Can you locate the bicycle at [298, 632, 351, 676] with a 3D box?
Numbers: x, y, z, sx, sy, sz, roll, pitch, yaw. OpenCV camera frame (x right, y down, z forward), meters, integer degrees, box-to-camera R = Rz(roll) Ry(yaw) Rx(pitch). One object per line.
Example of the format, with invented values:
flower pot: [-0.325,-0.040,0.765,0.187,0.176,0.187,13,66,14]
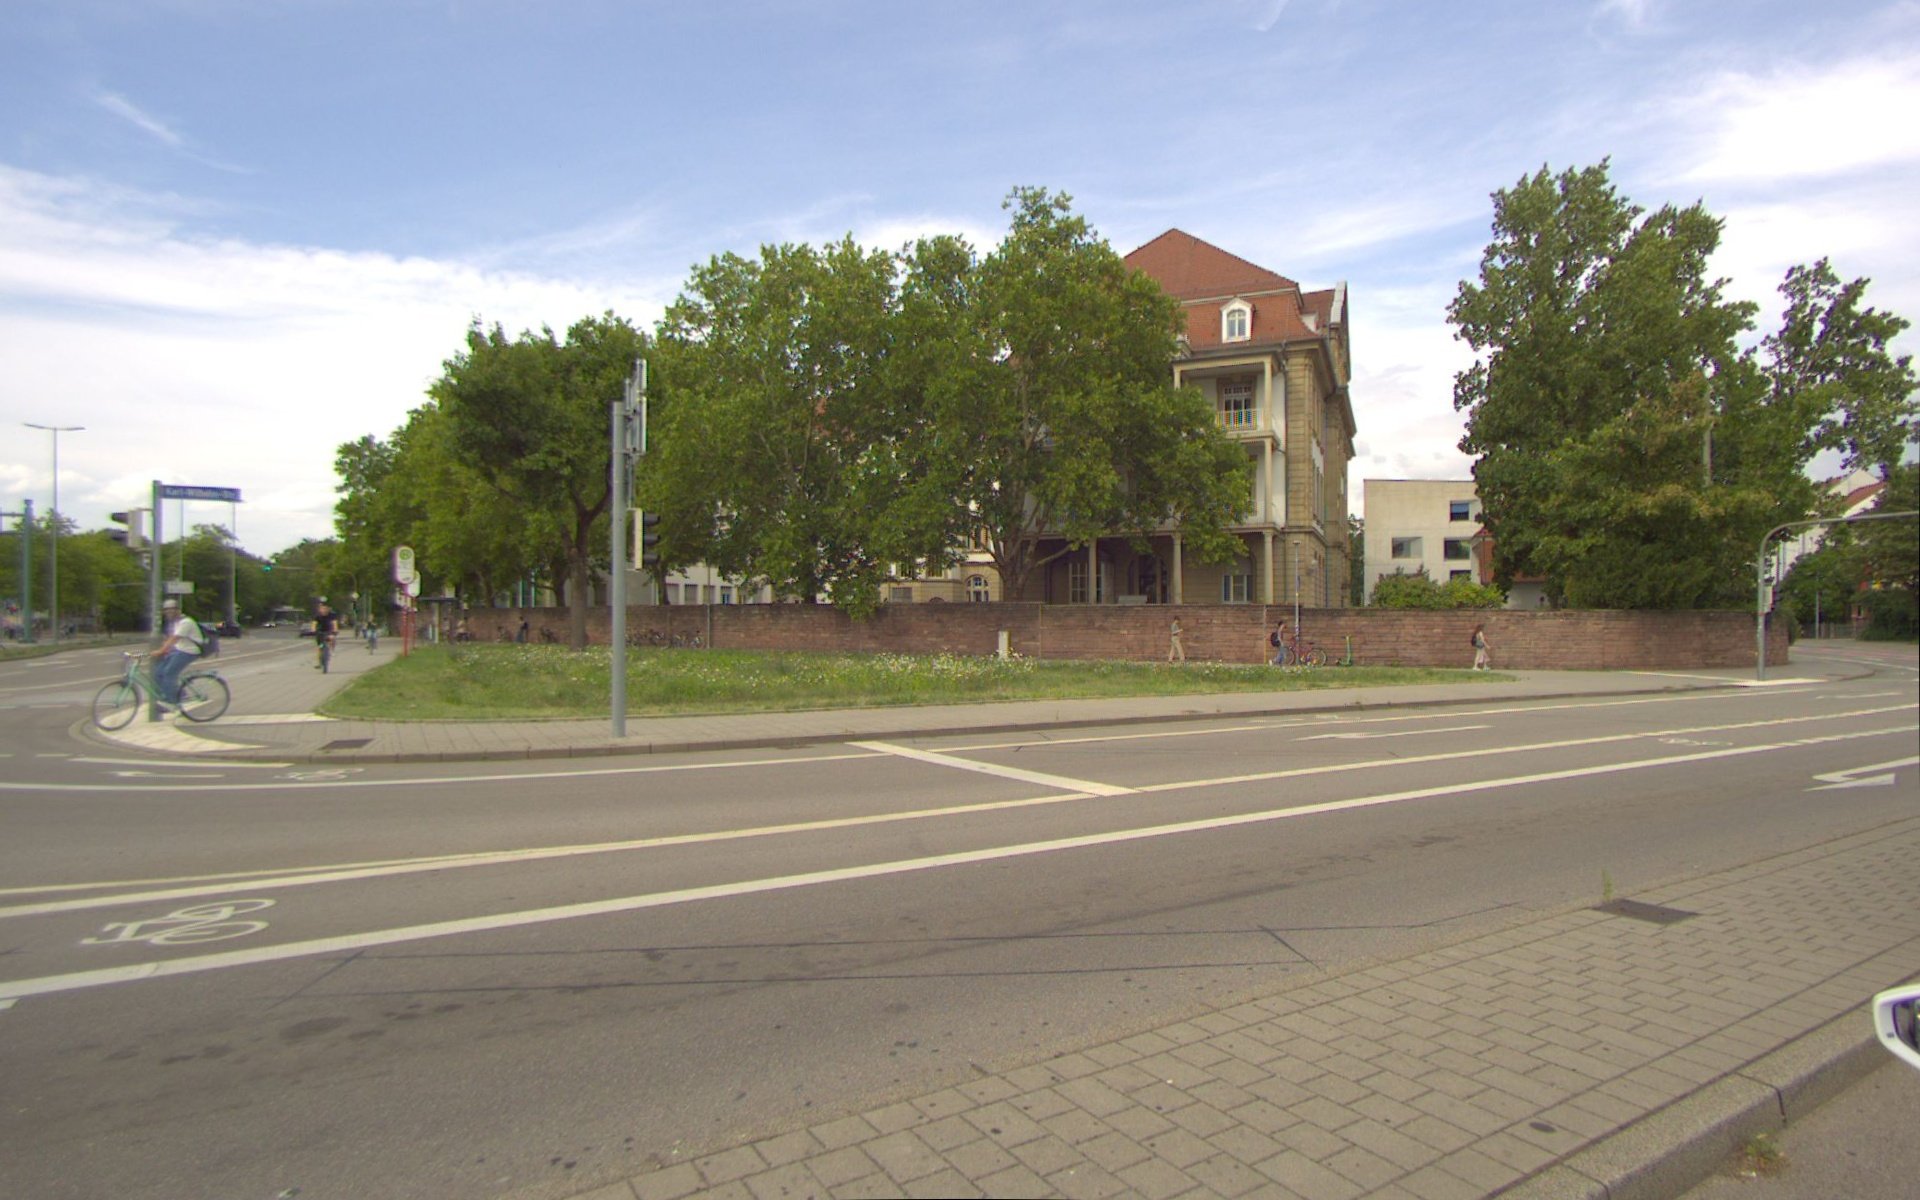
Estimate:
bicycle: [-15.593,1.305,24.693,0.497,0.948,1.965,0,1,-14]

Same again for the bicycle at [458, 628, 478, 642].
bicycle: [-33.891,2.438,69.141,1.554,0.899,0.658,-2,1,42]

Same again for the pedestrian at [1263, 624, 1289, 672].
pedestrian: [11.509,1.737,36.598,0.766,1.677,0.577,-2,1,2]

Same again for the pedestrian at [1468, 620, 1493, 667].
pedestrian: [19.030,1.603,36.749,0.617,1.677,0.531,-2,1,0]

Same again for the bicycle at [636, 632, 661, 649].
bicycle: [-16.675,2.157,53.786,1.783,0.875,0.357,-1,-4,42]

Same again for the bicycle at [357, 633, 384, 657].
bicycle: [-25.415,1.930,43.333,0.497,0.948,1.965,0,1,-14]

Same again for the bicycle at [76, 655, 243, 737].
bicycle: [-11.498,1.345,14.515,0.496,0.948,1.972,1,1,15]

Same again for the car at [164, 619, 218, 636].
car: [-72.543,2.587,94.815,4.046,1.509,1.791,1,-1,12]

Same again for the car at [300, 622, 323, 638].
car: [-66.542,3.064,103.103,1.680,1.500,4.382,-2,0,-29]

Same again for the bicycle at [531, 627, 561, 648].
bicycle: [-24.910,2.267,60.453,2.067,1.204,0.755,-1,-3,40]

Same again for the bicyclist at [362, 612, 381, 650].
bicyclist: [-25.426,1.326,43.371,0.486,1.576,0.795,0,1,-14]

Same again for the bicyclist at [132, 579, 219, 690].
bicyclist: [-11.446,0.480,14.674,0.568,1.576,0.798,1,1,15]

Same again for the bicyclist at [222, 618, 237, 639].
bicyclist: [-62.003,2.432,85.246,0.768,1.733,1.079,2,-3,-26]

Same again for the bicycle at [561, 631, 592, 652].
bicycle: [-22.126,2.401,57.899,2.067,1.204,0.755,-1,-3,40]

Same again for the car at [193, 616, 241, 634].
car: [-66.006,2.217,89.240,4.054,1.509,1.788,1,-2,27]

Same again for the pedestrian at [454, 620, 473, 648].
pedestrian: [-29.891,2.050,60.451,0.655,1.643,0.751,-1,1,38]

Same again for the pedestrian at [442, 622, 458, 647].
pedestrian: [-34.175,2.336,67.324,0.655,1.643,0.751,-1,1,38]

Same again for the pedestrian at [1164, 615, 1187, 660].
pedestrian: [8.267,1.435,38.548,0.766,1.677,0.577,-1,1,7]

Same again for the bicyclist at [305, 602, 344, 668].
bicyclist: [-15.605,0.852,24.678,0.570,1.576,0.795,0,1,-14]

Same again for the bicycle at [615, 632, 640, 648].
bicycle: [-18.151,2.185,54.846,1.794,0.875,0.357,-1,-3,39]

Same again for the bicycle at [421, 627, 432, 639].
bicycle: [-41.713,2.595,78.525,0.429,0.899,1.558,-4,1,-39]

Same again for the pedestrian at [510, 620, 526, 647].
pedestrian: [-27.535,2.066,62.567,0.743,1.643,0.566,-1,1,40]

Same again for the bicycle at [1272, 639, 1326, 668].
bicycle: [12.744,2.000,37.845,1.888,1.018,0.779,-2,0,17]

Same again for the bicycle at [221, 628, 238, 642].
bicycle: [-61.965,2.989,85.176,0.749,1.204,2.085,2,-3,-26]

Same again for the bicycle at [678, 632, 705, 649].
bicycle: [-13.857,2.084,51.897,1.681,0.875,0.357,-1,-3,36]

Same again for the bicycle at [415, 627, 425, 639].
bicycle: [-42.886,2.623,79.775,0.429,0.899,1.558,-4,1,-39]

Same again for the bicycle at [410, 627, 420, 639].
bicycle: [-44.071,2.683,81.226,0.429,0.899,1.558,-4,1,-39]

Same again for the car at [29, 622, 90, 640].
car: [-83.679,2.903,93.396,4.048,1.509,1.791,2,-1,2]

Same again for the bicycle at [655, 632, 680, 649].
bicycle: [-15.307,2.123,52.534,1.864,0.875,0.357,-2,-4,43]

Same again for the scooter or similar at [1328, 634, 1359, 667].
scooter or similar: [14.300,1.866,37.445,0.513,1.154,1.509,-1,1,45]
